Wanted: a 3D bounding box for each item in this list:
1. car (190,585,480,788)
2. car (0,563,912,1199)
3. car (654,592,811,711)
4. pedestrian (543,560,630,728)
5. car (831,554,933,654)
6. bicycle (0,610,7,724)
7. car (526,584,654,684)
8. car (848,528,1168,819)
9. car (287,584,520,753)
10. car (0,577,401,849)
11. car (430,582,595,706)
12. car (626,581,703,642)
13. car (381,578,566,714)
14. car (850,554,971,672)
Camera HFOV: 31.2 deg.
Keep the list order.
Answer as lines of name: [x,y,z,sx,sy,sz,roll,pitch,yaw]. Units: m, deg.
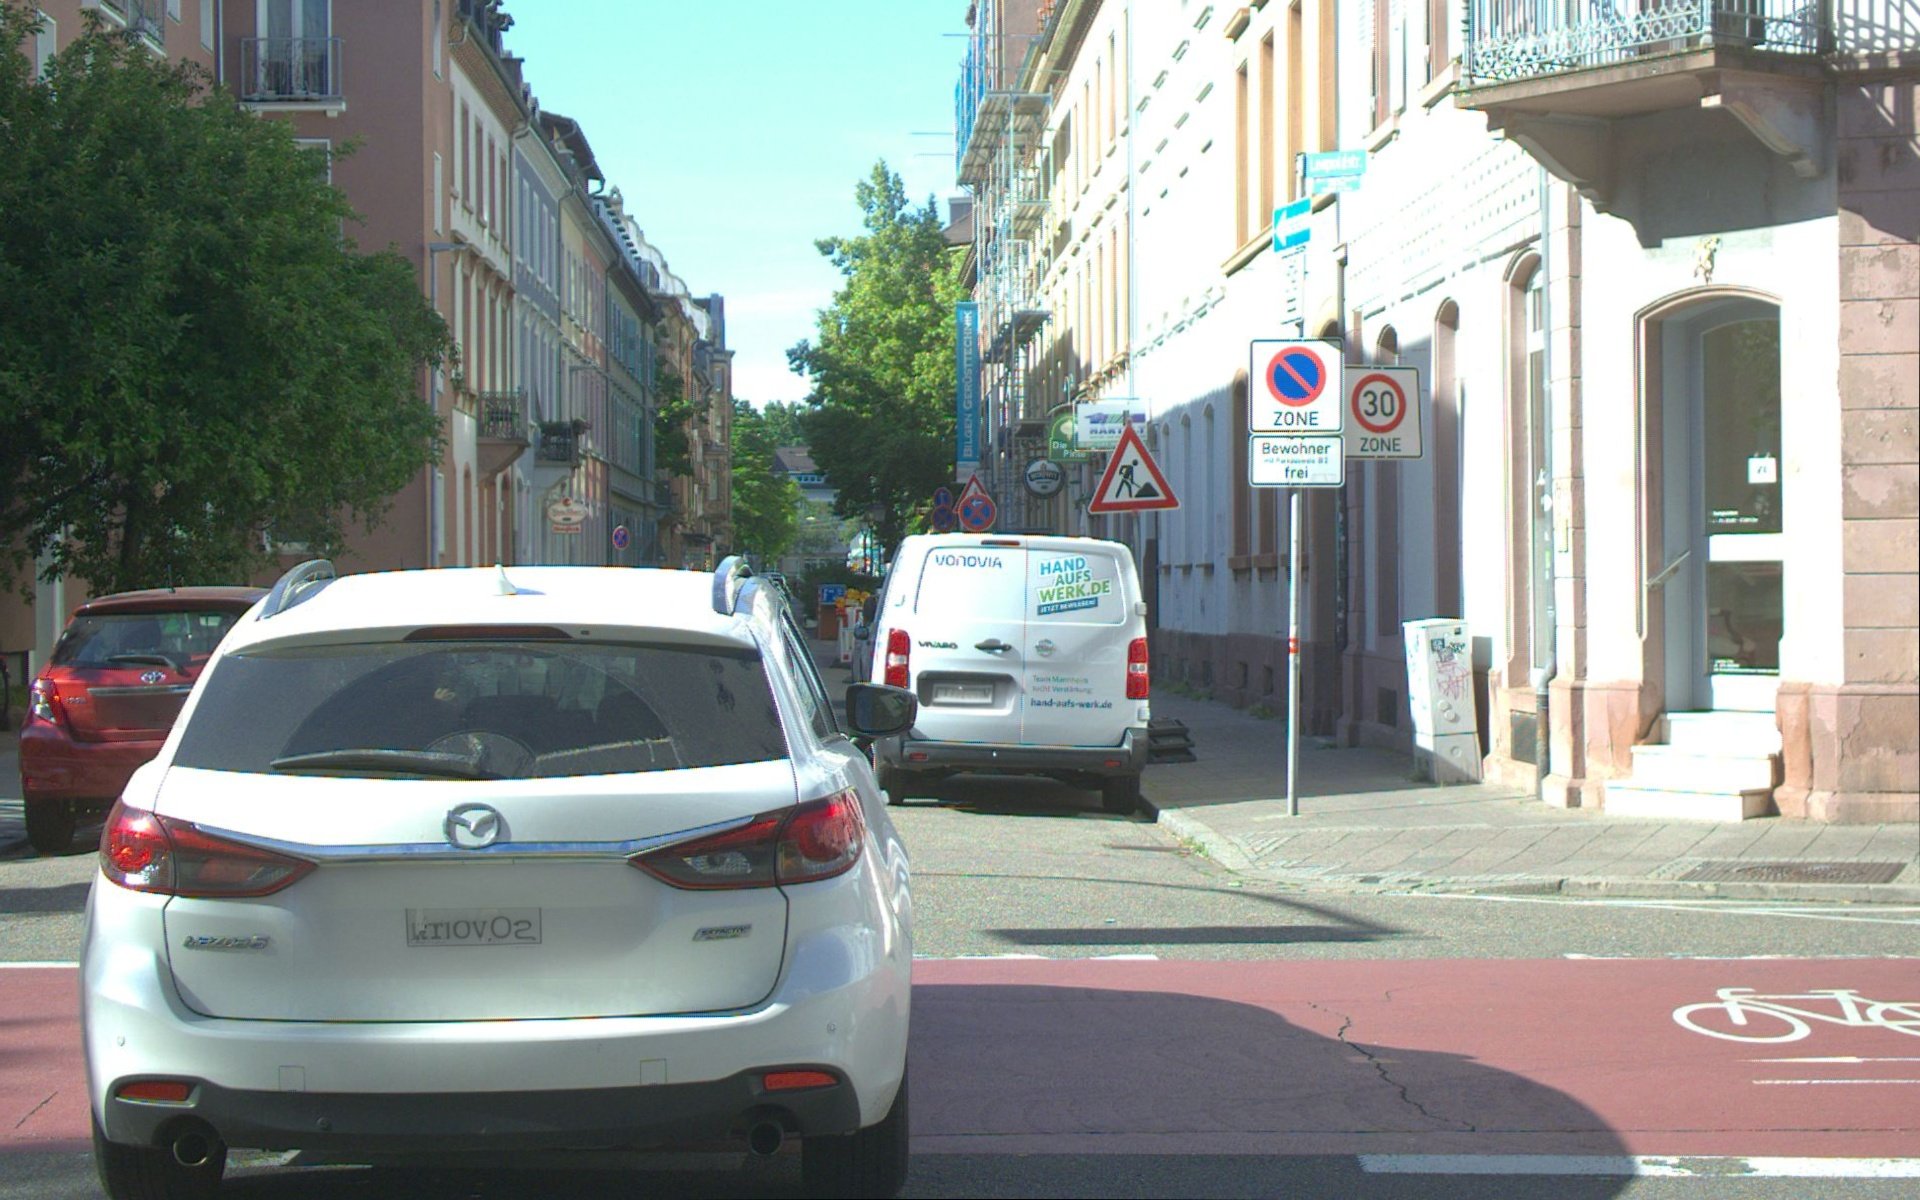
car: [-4.936,0.635,27.613,1.653,1.495,4.080,0,0,-1]
car: [-1.050,0.652,8.685,1.831,1.452,3.962,0,1,-1]
car: [-2.826,0.611,43.453,1.760,1.405,4.328,0,0,-1]
pedestrian: [-3.665,0.424,33.661,0.733,1.608,0.816,-1,0,-13]
car: [-1.496,0.062,66.298,1.894,1.853,3.995,0,0,-1]
bicycle: [-9.537,0.632,32.671,1.218,1.068,0.253,0,0,38]
car: [-5.771,0.506,53.952,1.653,1.495,3.763,0,0,-1]
car: [0.238,0.469,25.160,1.894,1.853,5.015,2,0,-4]
car: [-5.194,0.605,32.491,1.653,1.495,3.763,0,0,-1]
car: [-4.634,0.633,21.460,1.685,1.495,3.807,-2,0,-1]
car: [-5.616,0.524,43.507,1.653,1.495,3.763,0,0,-1]
car: [-7.302,0.266,85.315,1.653,1.495,3.763,0,0,-1]
car: [-5.544,0.491,39.547,1.653,1.495,3.763,0,0,-1]
car: [-0.795,0.193,56.511,1.894,1.853,3.995,-1,0,0]
